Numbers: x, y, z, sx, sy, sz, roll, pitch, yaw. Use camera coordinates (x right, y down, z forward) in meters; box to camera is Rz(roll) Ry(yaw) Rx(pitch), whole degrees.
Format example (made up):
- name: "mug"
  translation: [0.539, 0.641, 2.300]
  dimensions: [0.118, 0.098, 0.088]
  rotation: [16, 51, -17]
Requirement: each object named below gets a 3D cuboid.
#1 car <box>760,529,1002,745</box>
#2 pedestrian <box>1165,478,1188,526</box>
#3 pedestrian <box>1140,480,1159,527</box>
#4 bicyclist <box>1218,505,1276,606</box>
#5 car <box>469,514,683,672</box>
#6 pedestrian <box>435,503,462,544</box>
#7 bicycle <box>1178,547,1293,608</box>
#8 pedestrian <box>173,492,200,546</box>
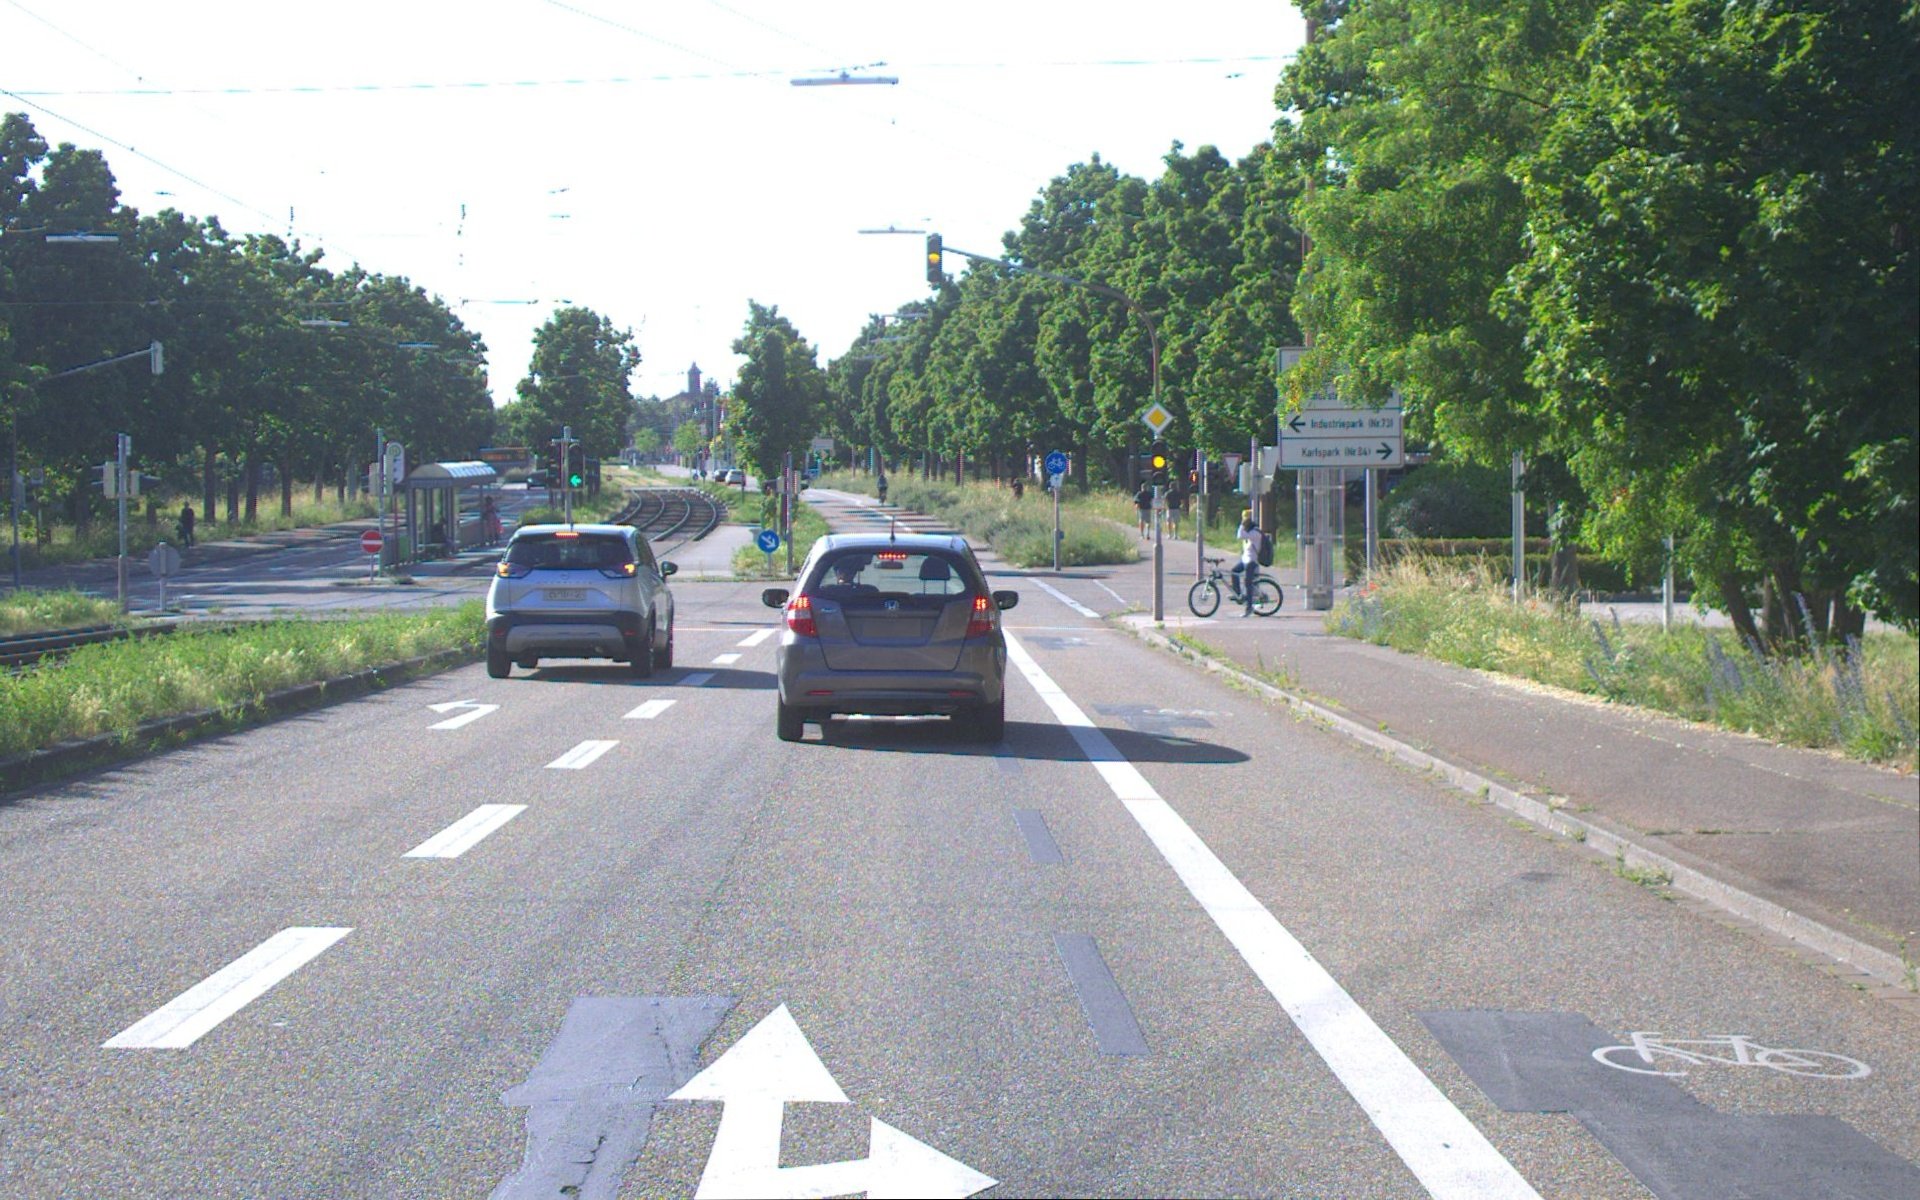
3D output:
- name: "car"
  translation: [-0.551, 0.224, 26.413]
  dimensions: [1.707, 1.503, 4.000]
  rotation: [1, 1, 0]
- name: "pedestrian"
  translation: [7.323, -3.321, 116.549]
  dimensions: [0.678, 1.604, 0.721]
  rotation: [1, 1, -3]
- name: "pedestrian"
  translation: [6.426, -3.265, 116.603]
  dimensions: [0.567, 1.591, 0.666]
  rotation: [1, 1, -4]
- name: "bicyclist"
  translation: [5.052, -0.778, 60.447]
  dimensions: [0.910, 1.739, 0.764]
  rotation: [-1, 1, 11]
- name: "car"
  translation: [-4.059, -0.122, 36.955]
  dimensions: [1.850, 1.601, 4.255]
  rotation: [0, 1, 0]
- name: "pedestrian"
  translation: [-15.892, -2.379, 106.769]
  dimensions: [0.721, 1.241, 0.711]
  rotation: [-1, 2, -2]
- name: "bicycle"
  translation: [4.854, -0.405, 60.494]
  dimensions: [1.921, 0.994, 0.764]
  rotation: [-2, 1, 11]
- name: "pedestrian"
  translation: [-28.565, -2.995, 126.944]
  dimensions: [0.839, 2.006, 0.863]
  rotation: [0, 2, -2]
